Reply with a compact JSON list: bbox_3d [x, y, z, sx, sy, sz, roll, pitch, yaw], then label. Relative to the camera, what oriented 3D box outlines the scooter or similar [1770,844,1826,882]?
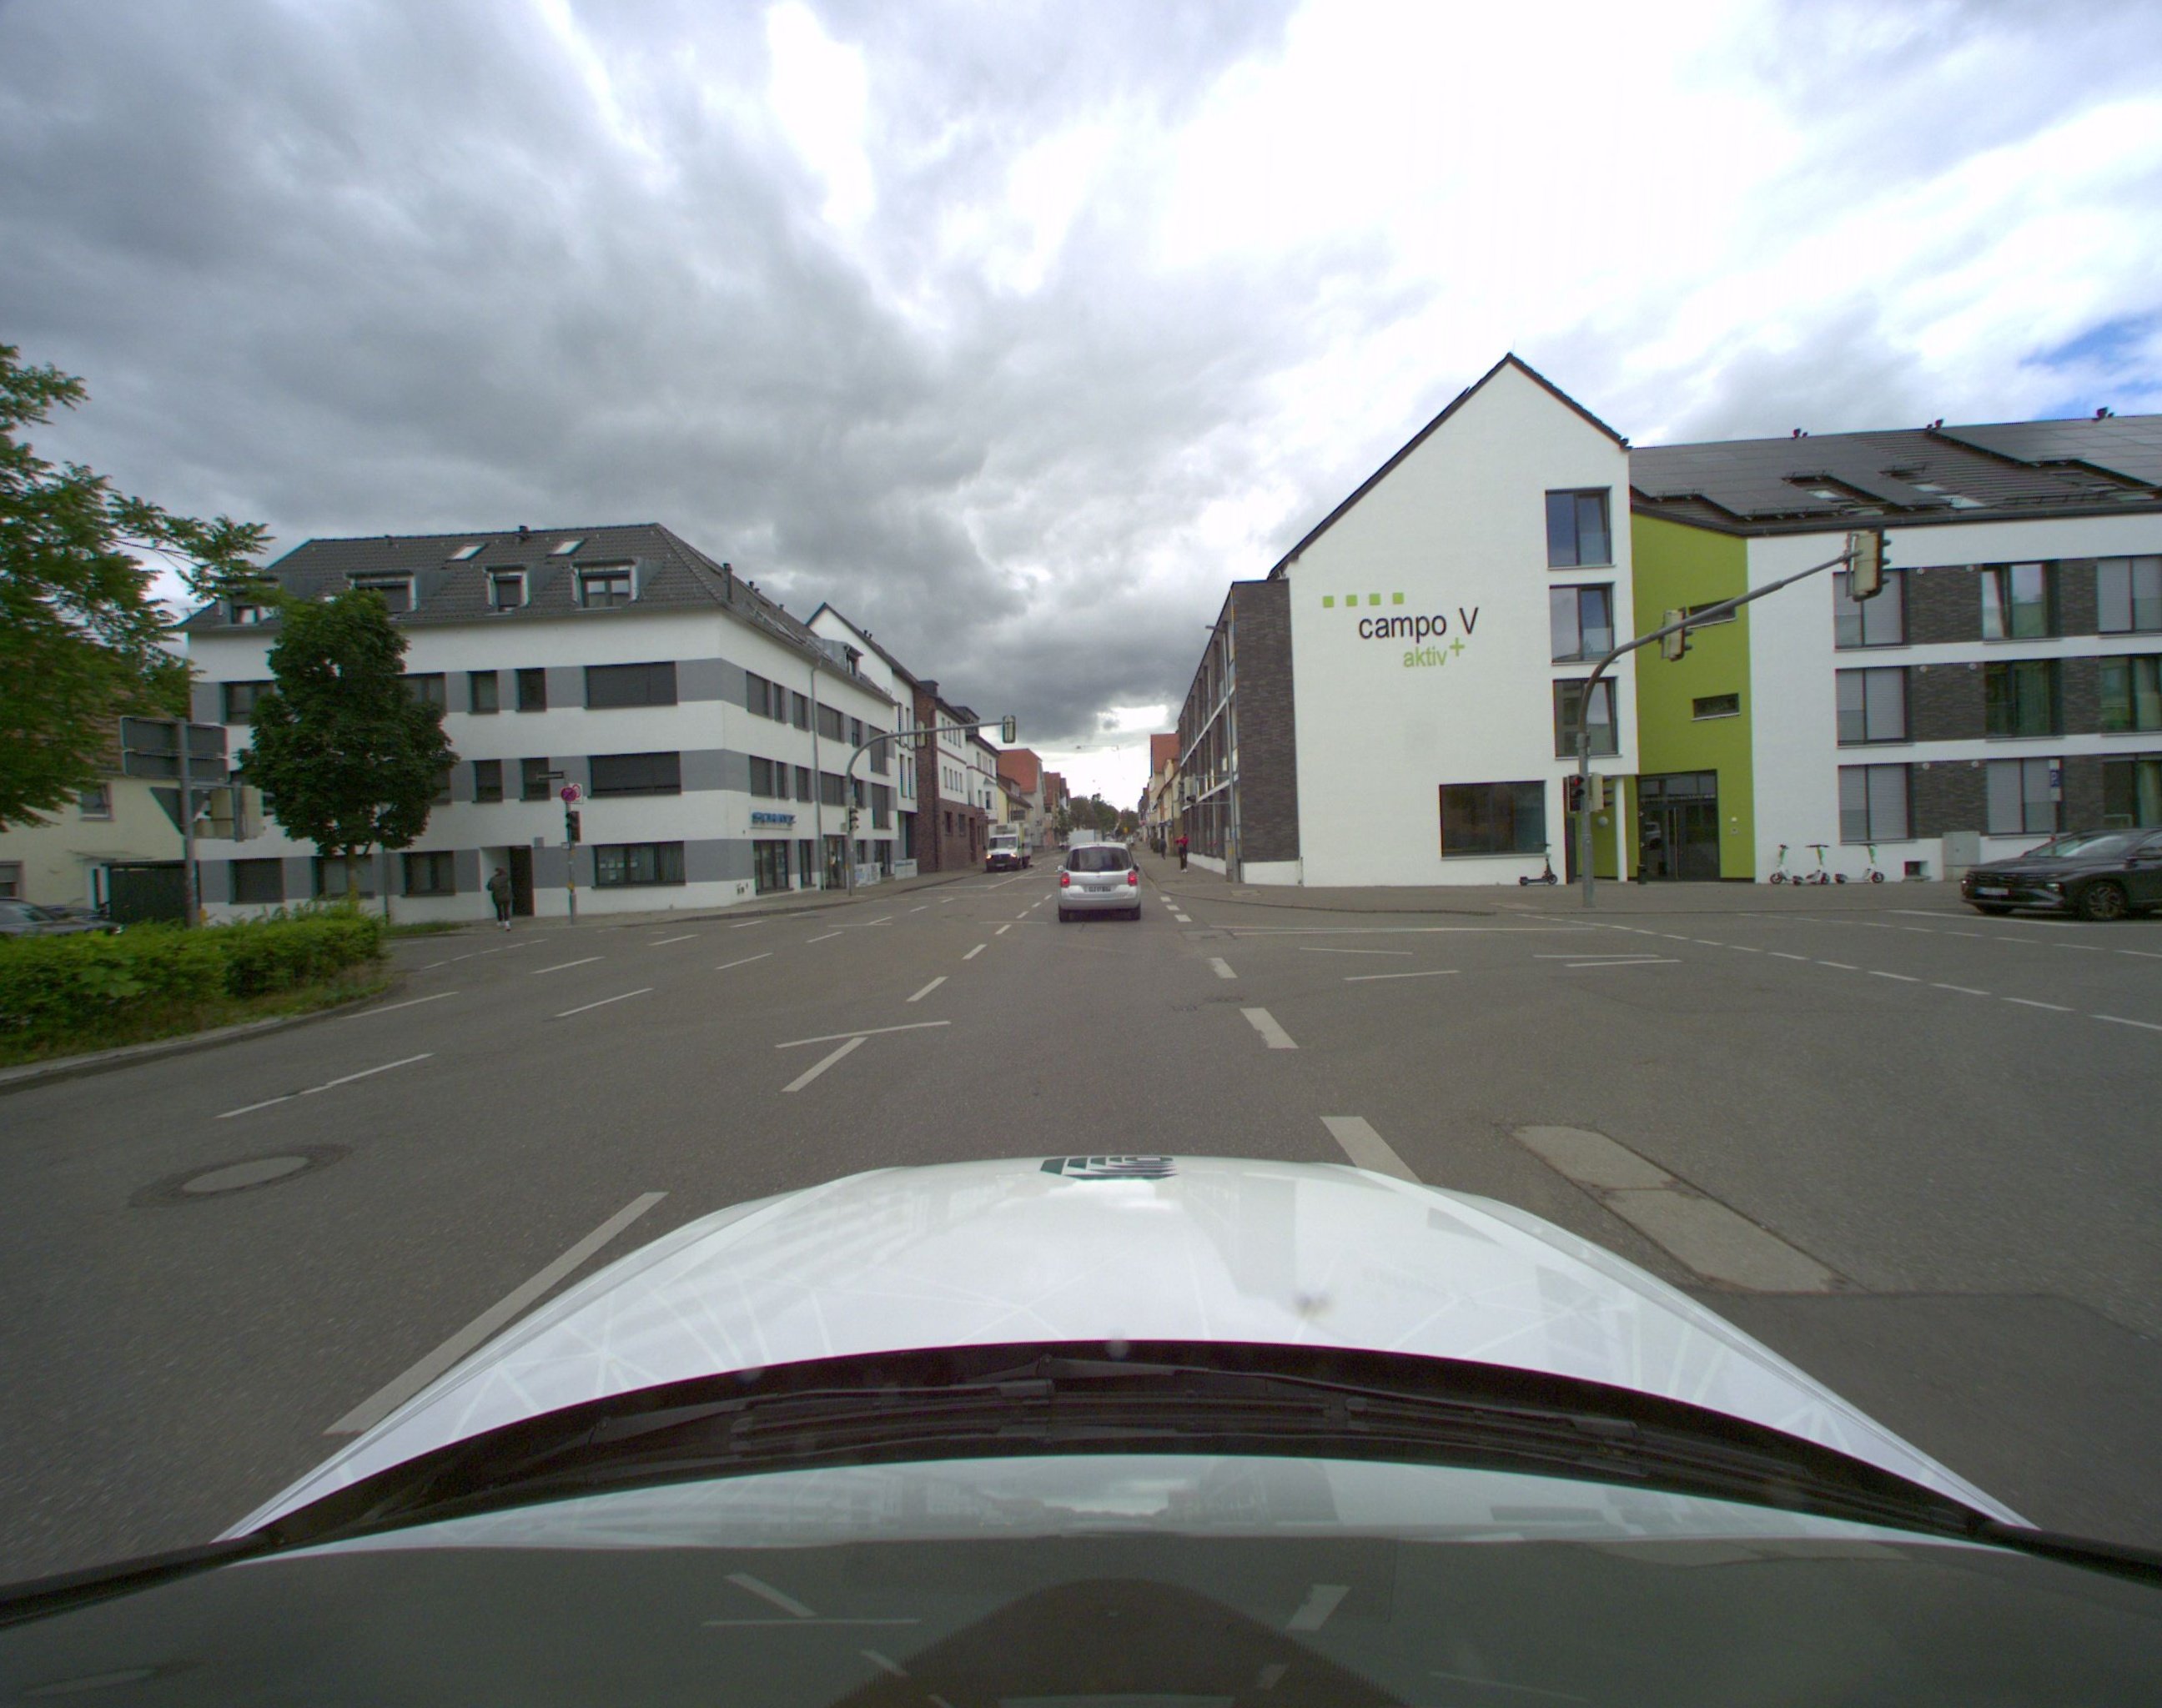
[{"bbox_3d":[21.128,0.264,24.013,1.221,1.079,0.365,-1,1,9],"label":"scooter or similar"}]

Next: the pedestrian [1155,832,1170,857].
[{"bbox_3d":[5.989,-0.682,59.766,0.886,1.786,0.785,-5,1,3],"label":"pedestrian"}]

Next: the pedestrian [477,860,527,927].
[{"bbox_3d":[-15.458,1.040,21.743,0.890,1.669,0.804,-5,4,-45],"label":"pedestrian"}]

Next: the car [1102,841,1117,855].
[{"bbox_3d":[3.339,-0.659,94.333,1.700,1.579,4.003,0,1,2],"label":"car"}]

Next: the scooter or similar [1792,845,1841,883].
[{"bbox_3d":[20.987,0.277,23.233,1.228,1.079,0.363,-1,1,-10],"label":"scooter or similar"}]

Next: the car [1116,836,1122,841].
[{"bbox_3d":[10.832,-4.416,231.393,1.805,1.354,4.004,-3,1,3],"label":"car"}]

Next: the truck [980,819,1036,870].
[{"bbox_3d":[-4.574,-0.650,52.477,2.425,2.953,8.370,-2,1,2],"label":"truck"}]

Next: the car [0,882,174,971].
[{"bbox_3d":[-22.248,1.567,17.078,3.978,1.532,1.911,-4,3,-3],"label":"car"}]

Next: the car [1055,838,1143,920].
[{"bbox_3d":[0.428,0.446,17.716,1.700,1.579,4.003,0,1,2],"label":"car"}]

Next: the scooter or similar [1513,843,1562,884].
[{"bbox_3d":[13.761,0.286,24.565,1.225,1.235,0.407,0,1,3],"label":"scooter or similar"}]

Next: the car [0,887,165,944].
[{"bbox_3d":[-34.317,2.051,27.682,1.673,1.527,4.002,-4,1,2],"label":"car"}]

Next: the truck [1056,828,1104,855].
[{"bbox_3d":[-0.101,-1.871,124.355,6.761,3.857,2.620,-1,1,28],"label":"truck"}]

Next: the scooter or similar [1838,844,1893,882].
[{"bbox_3d":[22.746,0.249,23.615,1.168,1.079,0.364,-1,1,5],"label":"scooter or similar"}]

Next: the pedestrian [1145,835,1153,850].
[{"bbox_3d":[8.584,-1.464,102.911,0.886,1.786,0.785,-5,1,3],"label":"pedestrian"}]

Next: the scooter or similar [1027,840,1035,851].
[{"bbox_3d":[-5.952,-1.055,96.958,0.573,1.269,2.551,-3,1,3],"label":"scooter or similar"}]

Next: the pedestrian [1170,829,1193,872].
[{"bbox_3d":[4.371,-0.164,35.423,0.804,1.786,0.862,-5,1,3],"label":"pedestrian"}]

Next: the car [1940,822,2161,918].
[{"bbox_3d":[18.949,0.253,15.036,4.072,1.659,1.953,0,1,2],"label":"car"}]

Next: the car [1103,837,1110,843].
[{"bbox_3d":[6.863,-3.710,217.711,1.805,1.354,3.861,-3,1,3],"label":"car"}]
